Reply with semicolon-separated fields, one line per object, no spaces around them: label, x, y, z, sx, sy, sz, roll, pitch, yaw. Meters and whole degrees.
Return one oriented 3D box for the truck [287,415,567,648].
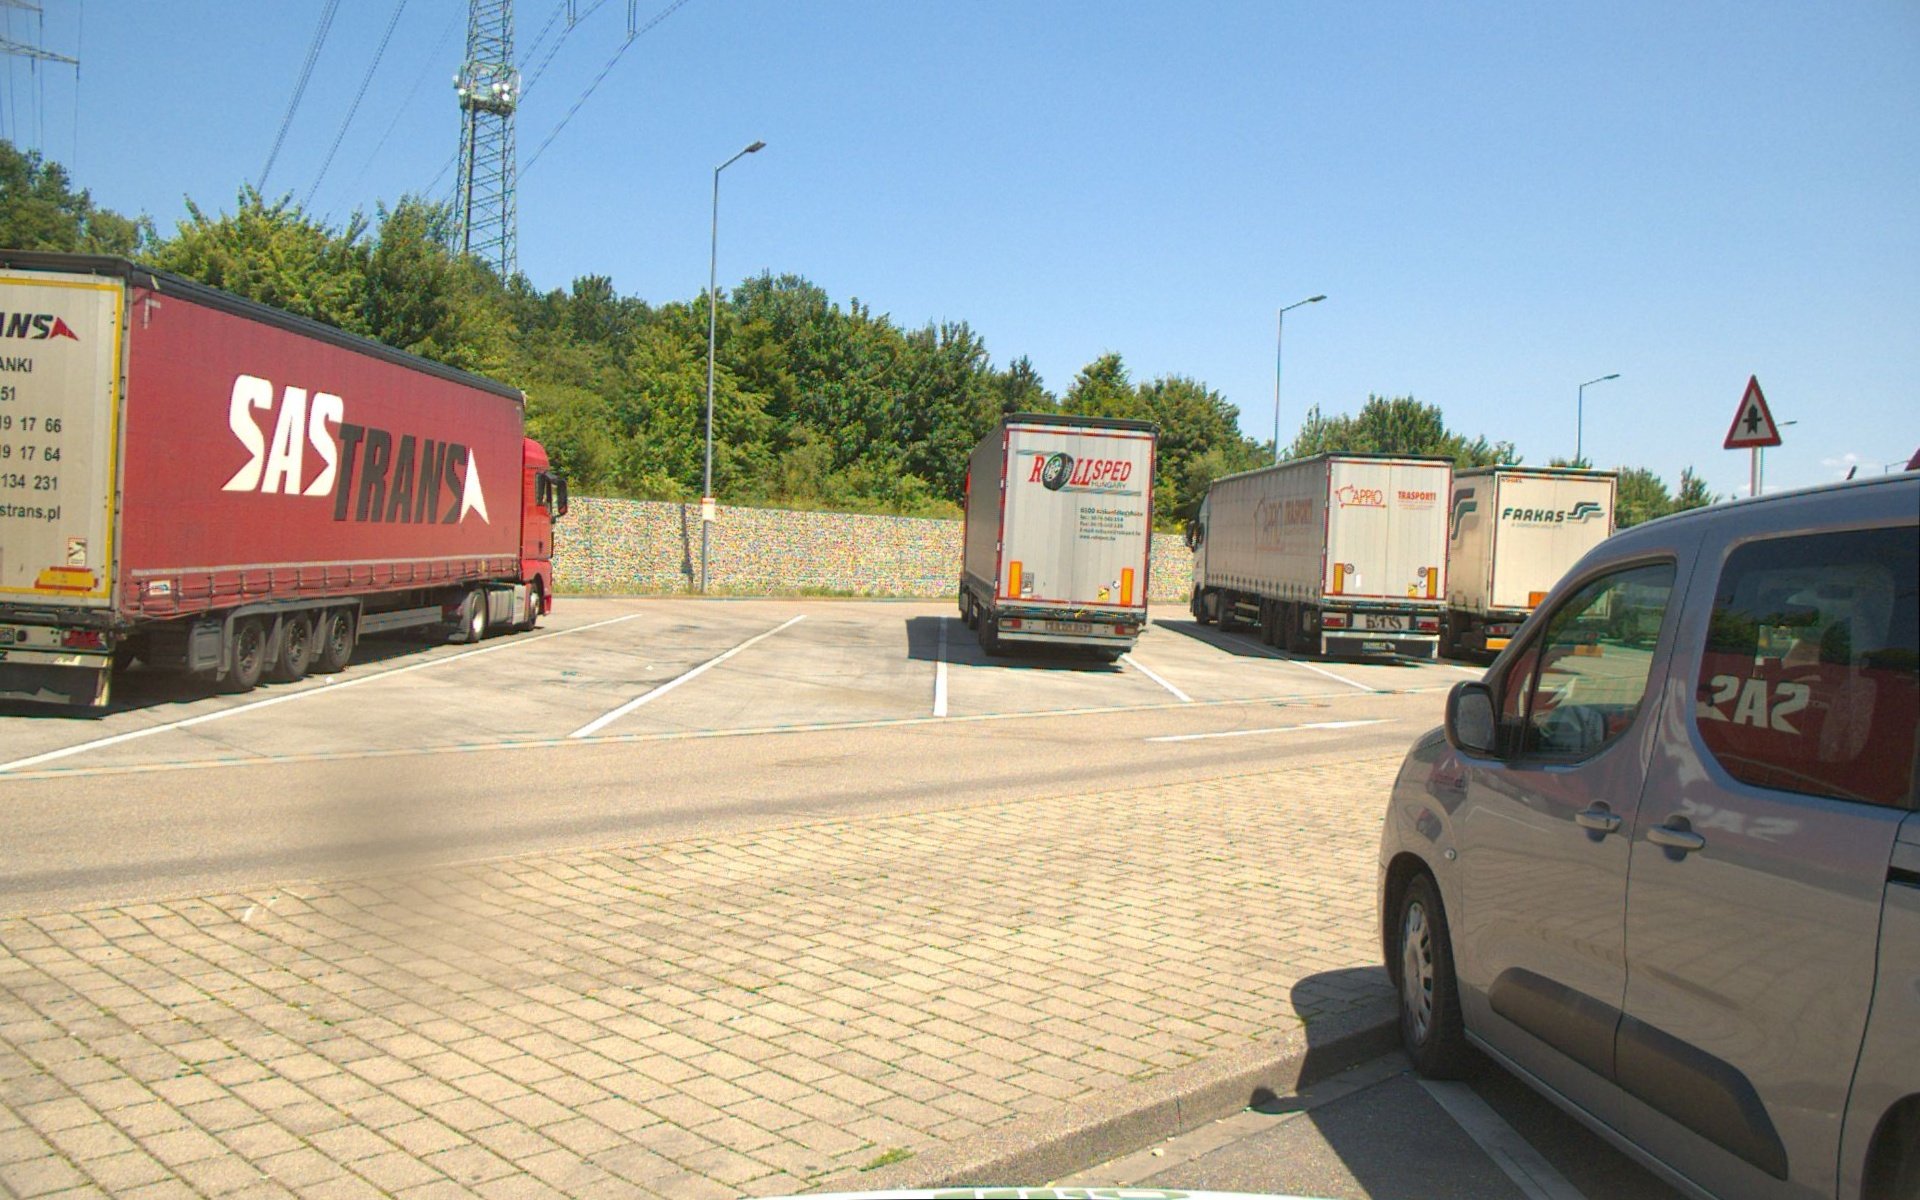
truck;-8.781;-1.149;28.015;2.793;3.385;5.900;3;2;-1

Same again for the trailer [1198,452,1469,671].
trailer;8.181;-1.024;38.860;2.754;4.058;14.395;3;2;-1

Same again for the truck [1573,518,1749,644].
truck;21.776;-0.686;51.745;2.746;3.582;5.900;3;2;-1

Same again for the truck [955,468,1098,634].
truck;1.512;-1.235;40.541;3.041;3.628;5.900;3;2;-1

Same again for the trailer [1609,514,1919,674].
trailer;21.854;-0.382;44.515;2.754;3.568;14.395;3;2;-1

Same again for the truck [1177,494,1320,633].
truck;8.064;-1.086;46.959;2.804;3.582;5.900;3;2;-1

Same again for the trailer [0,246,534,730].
trailer;-8.716;-1.290;21.445;2.735;4.155;14.131;3;2;-1

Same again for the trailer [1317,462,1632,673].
trailer;11.744;-0.928;39.964;2.754;4.058;14.395;3;2;-1

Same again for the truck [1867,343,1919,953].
truck;5.011;0.202;4.988;1.937;2.668;5.307;1;0;4

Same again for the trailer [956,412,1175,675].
trailer;1.668;-1.190;33.651;3.070;4.058;14.393;3;2;-1

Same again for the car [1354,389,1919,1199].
car;2.449;0.604;3.865;1.832;1.896;4.174;3;1;-2

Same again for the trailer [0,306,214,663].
trailer;-12.542;-1.336;17.722;2.739;4.155;14.131;3;2;-1
